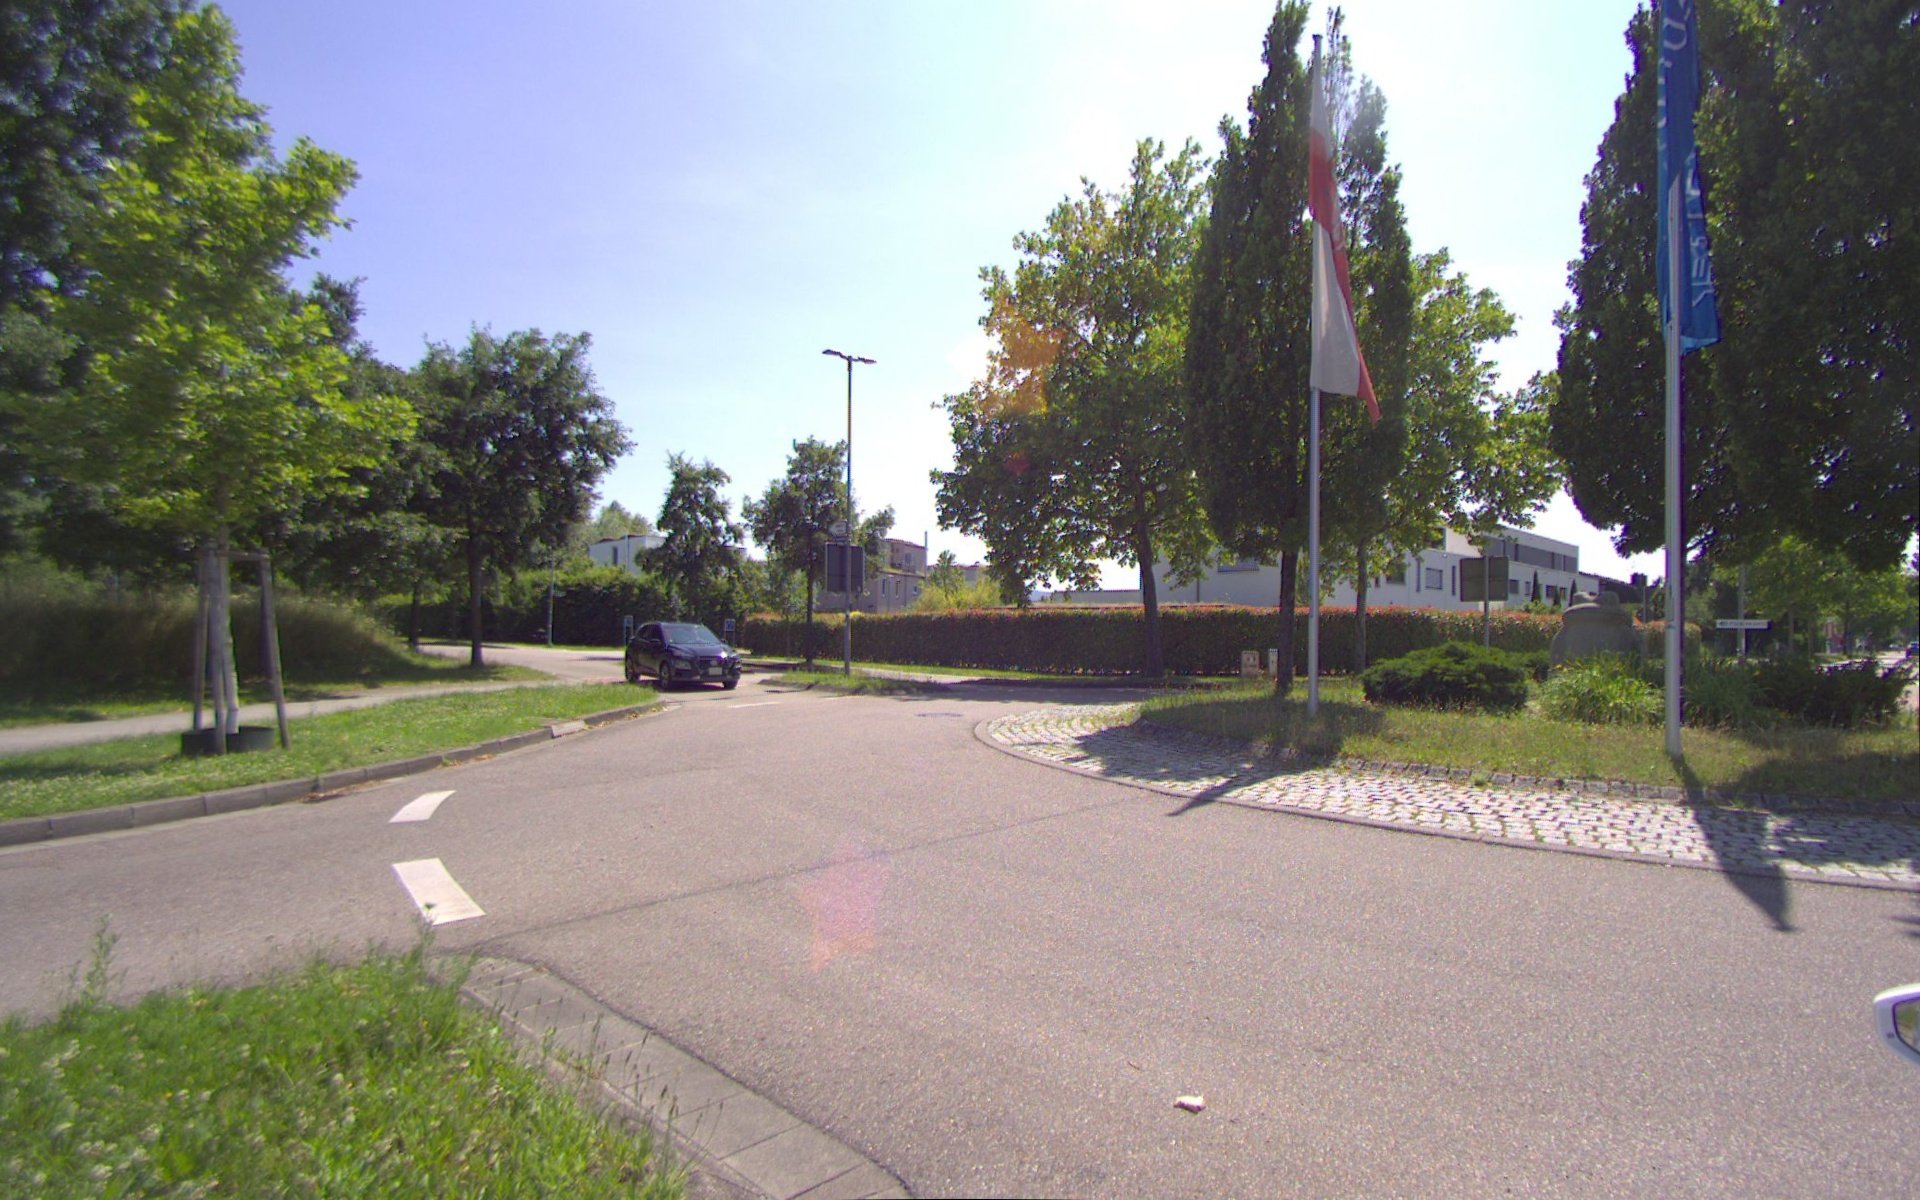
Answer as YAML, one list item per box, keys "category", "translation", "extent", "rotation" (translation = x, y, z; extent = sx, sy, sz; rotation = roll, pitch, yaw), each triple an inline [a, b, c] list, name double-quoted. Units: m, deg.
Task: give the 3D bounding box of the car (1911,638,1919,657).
- category: "car"
  translation: [101.893, 5.077, 106.176]
  extent: [1.903, 1.911, 3.976]
  rotation: [1, -2, 44]

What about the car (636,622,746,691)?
- category: "car"
  translation: [-6.903, 1.378, 25.471]
  extent: [1.842, 1.589, 4.457]
  rotation: [1, -2, -27]
